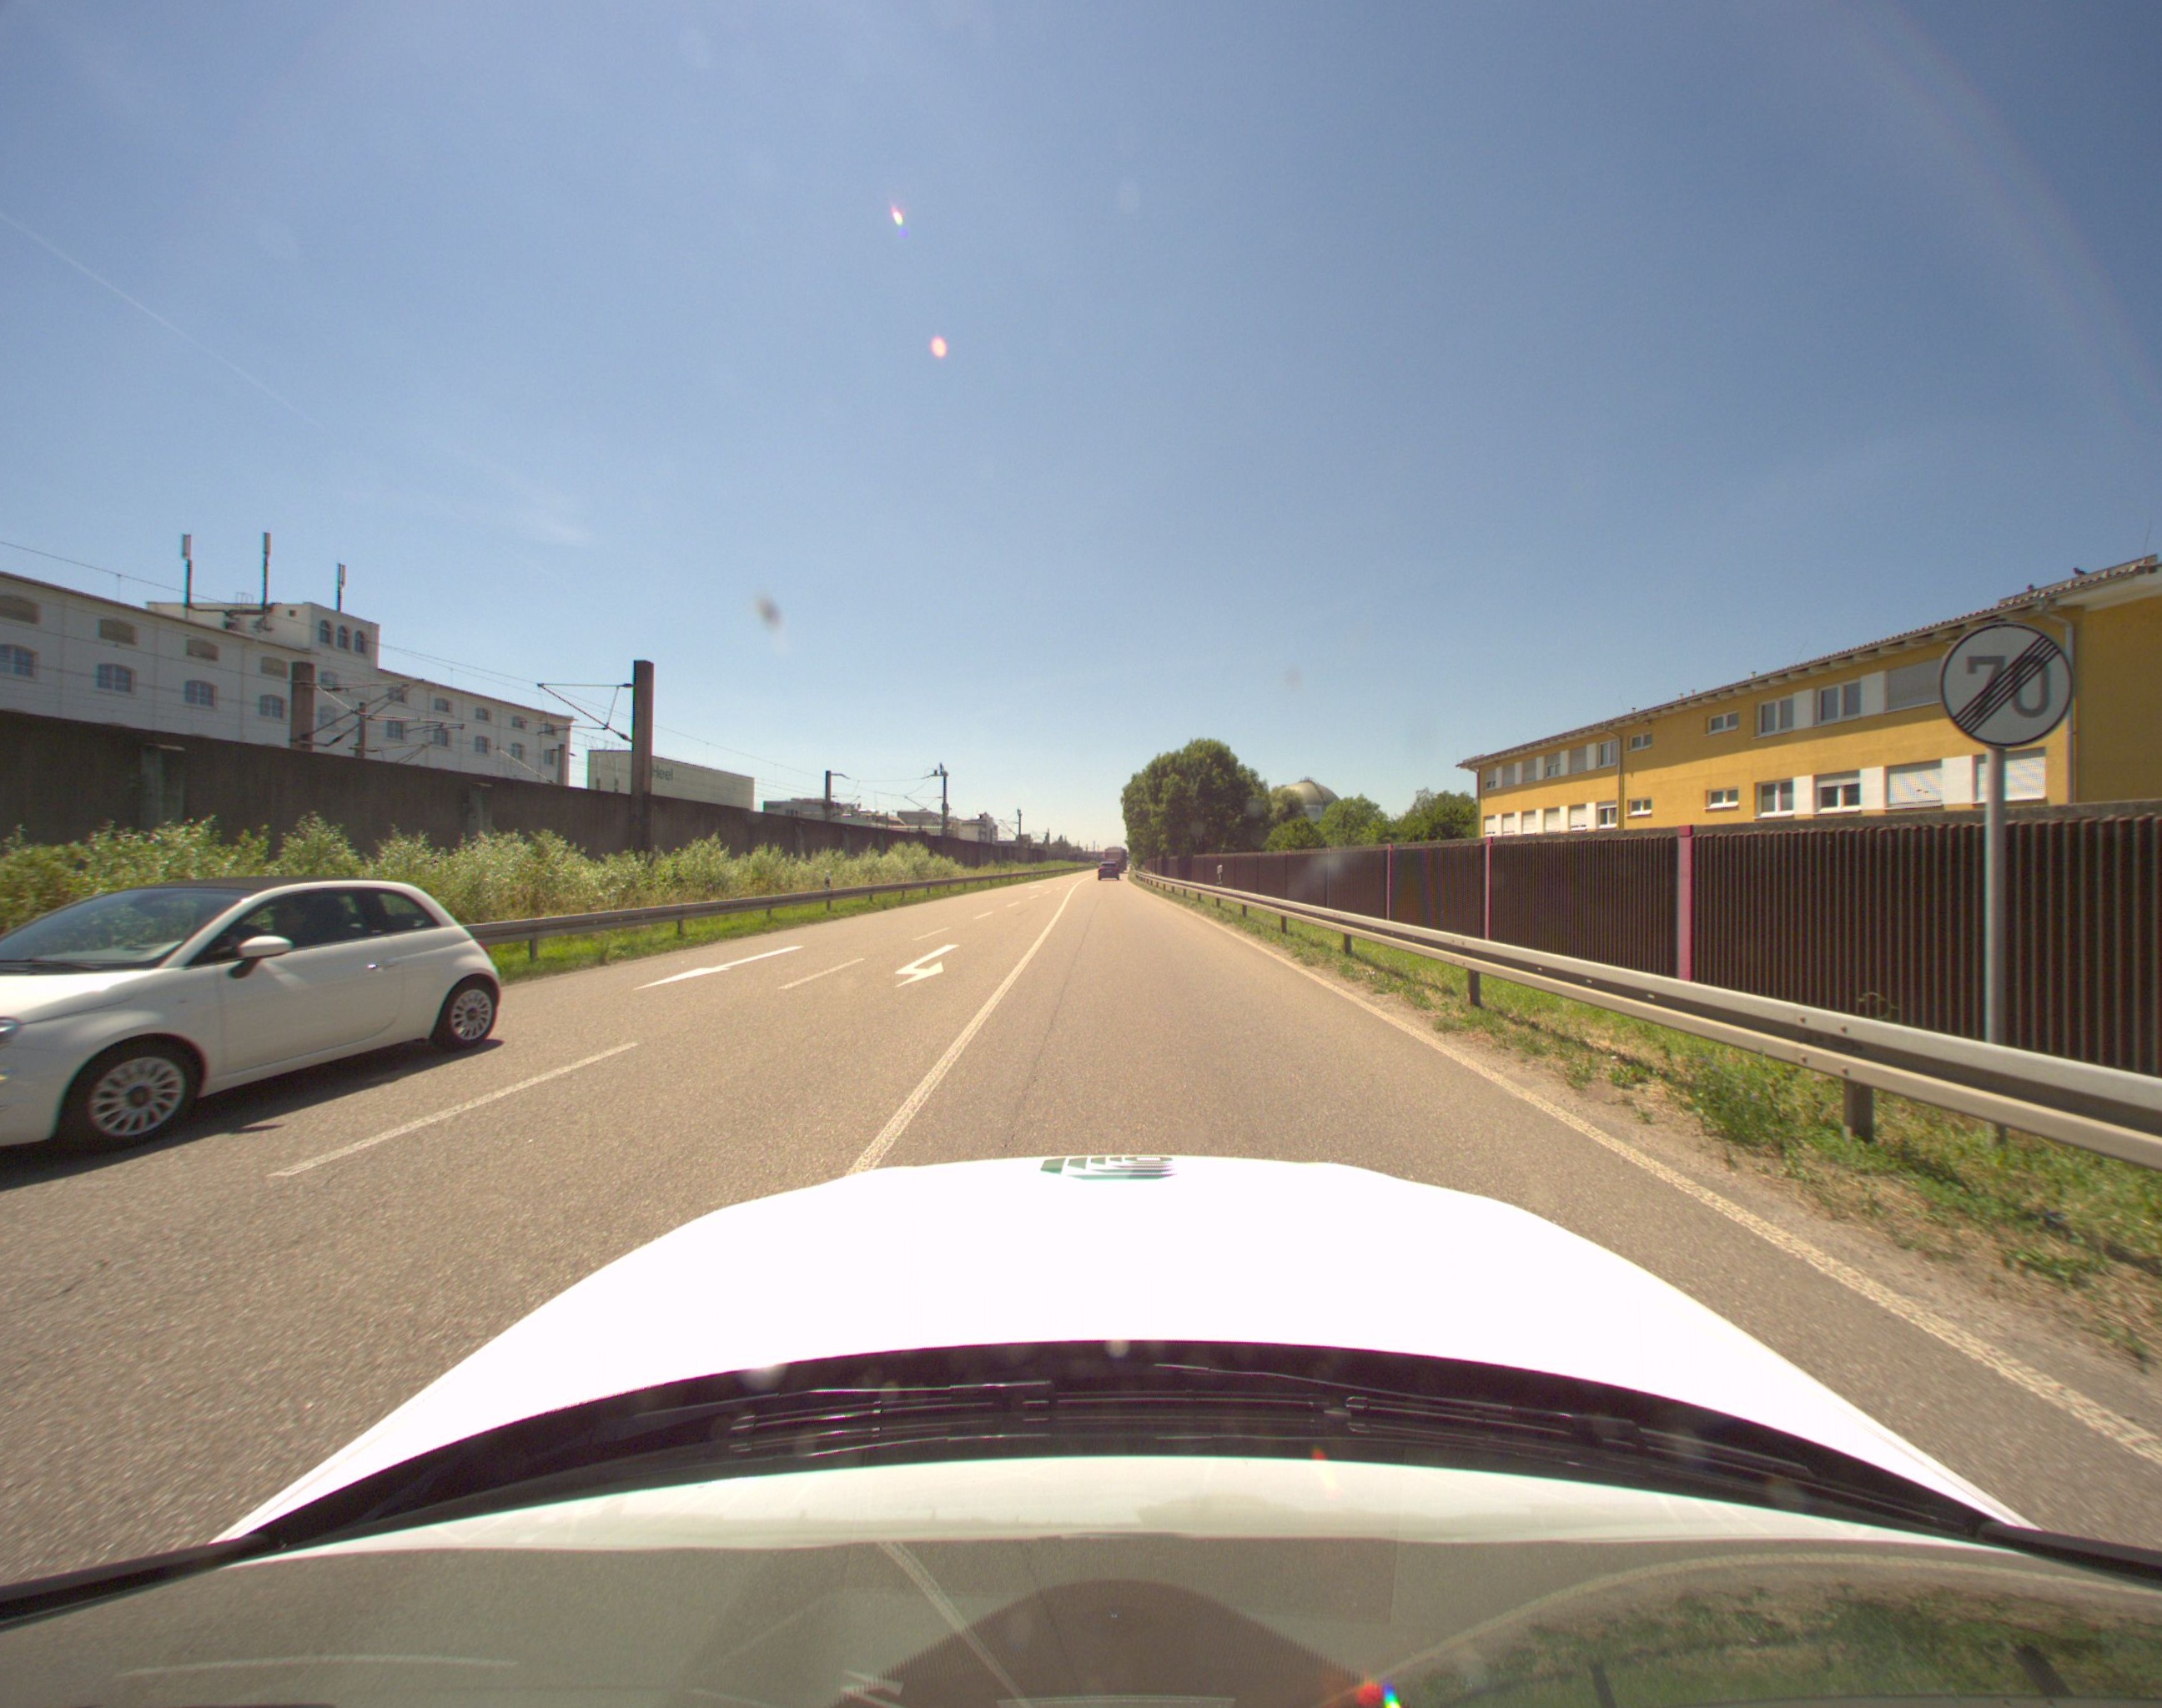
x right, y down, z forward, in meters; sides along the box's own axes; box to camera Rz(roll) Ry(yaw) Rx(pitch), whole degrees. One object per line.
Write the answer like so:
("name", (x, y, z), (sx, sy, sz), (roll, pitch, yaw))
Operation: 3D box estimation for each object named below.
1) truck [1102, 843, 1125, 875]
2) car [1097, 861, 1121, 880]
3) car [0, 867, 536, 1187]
("truck", (4.637, 0.777, 113.780), (2.983, 4.181, 11.814), (-1, -1, 3))
("car", (2.419, 1.426, 69.148), (1.985, 1.503, 4.002), (0, -2, 3))
("car", (-5.949, 0.868, 5.713), (1.666, 1.502, 3.723), (-1, -1, 2))
